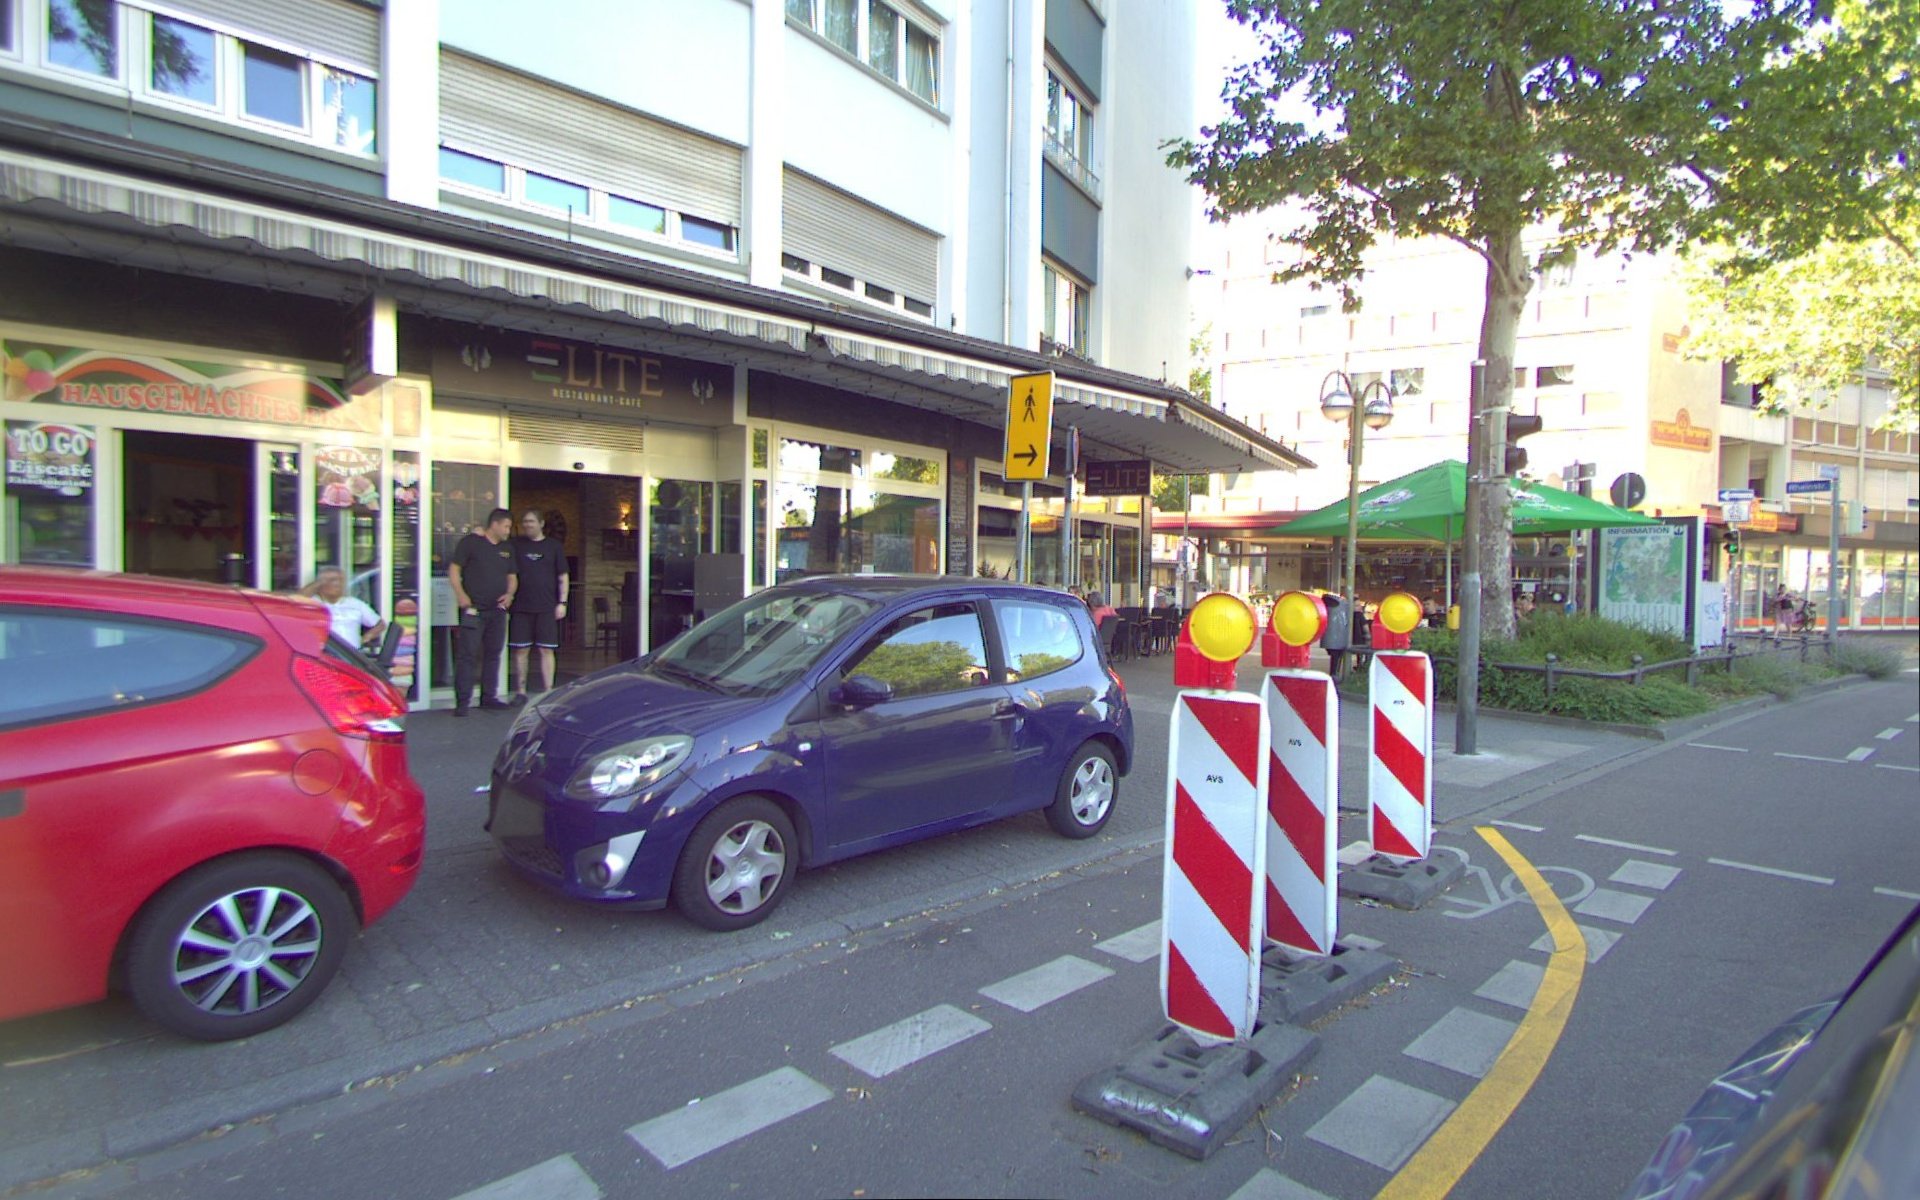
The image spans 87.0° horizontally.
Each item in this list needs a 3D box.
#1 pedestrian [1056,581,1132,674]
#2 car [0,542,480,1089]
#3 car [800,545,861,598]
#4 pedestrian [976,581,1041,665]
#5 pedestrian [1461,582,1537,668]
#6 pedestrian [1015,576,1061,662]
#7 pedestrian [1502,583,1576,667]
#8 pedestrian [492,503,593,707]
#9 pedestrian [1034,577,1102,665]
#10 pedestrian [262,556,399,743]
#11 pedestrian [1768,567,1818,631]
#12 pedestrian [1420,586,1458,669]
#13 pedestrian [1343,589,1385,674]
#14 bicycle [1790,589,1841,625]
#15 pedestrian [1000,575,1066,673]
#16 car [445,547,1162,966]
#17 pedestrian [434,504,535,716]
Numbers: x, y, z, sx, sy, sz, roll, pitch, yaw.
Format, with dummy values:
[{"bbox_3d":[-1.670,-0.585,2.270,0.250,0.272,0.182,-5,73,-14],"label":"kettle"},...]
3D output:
[{"bbox_3d":[1.861,0.366,14.034,0.838,1.213,0.644,3,1,27],"label":"pedestrian"},{"bbox_3d":[-3.637,0.563,2.858,1.667,1.446,3.786,5,4,44],"label":"car"},{"bbox_3d":[-4.563,-1.000,36.153,1.960,1.771,4.004,1,1,-5],"label":"car"},{"bbox_3d":[0.708,0.320,14.663,0.710,1.144,0.645,3,1,25],"label":"pedestrian"},{"bbox_3d":[8.423,0.372,15.828,0.752,1.301,0.721,0,1,-27],"label":"pedestrian"},{"bbox_3d":[1.171,0.273,15.284,0.541,1.259,0.521,2,1,-7],"label":"pedestrian"},{"bbox_3d":[9.274,0.381,16.230,0.753,1.301,0.720,0,1,-28],"label":"pedestrian"},{"bbox_3d":[-3.808,0.026,9.223,0.636,1.780,0.611,1,3,-42],"label":"pedestrian"},{"bbox_3d":[1.592,0.297,14.924,0.664,1.233,0.706,3,1,43],"label":"pedestrian"},{"bbox_3d":[-4.818,0.320,7.718,0.765,1.247,1.207,-1,5,-38],"label":"pedestrian"},{"bbox_3d":[23.594,-0.027,28.677,0.883,1.779,0.751,0,1,-24],"label":"pedestrian"},{"bbox_3d":[7.461,0.418,15.777,0.427,1.234,0.465,3,2,20],"label":"pedestrian"},{"bbox_3d":[5.948,0.452,14.921,0.460,1.235,0.432,1,0,5],"label":"pedestrian"},{"bbox_3d":[28.129,0.217,33.262,1.933,1.157,0.530,0,1,-26],"label":"bicycle"},{"bbox_3d":[0.998,0.313,13.759,0.644,1.267,0.711,3,1,25],"label":"pedestrian"},{"bbox_3d":[-0.637,0.531,5.504,3.545,1.484,1.621,0,4,-44],"label":"car"},{"bbox_3d":[-4.136,0.064,8.798,0.588,1.756,0.588,1,3,-44],"label":"pedestrian"}]
